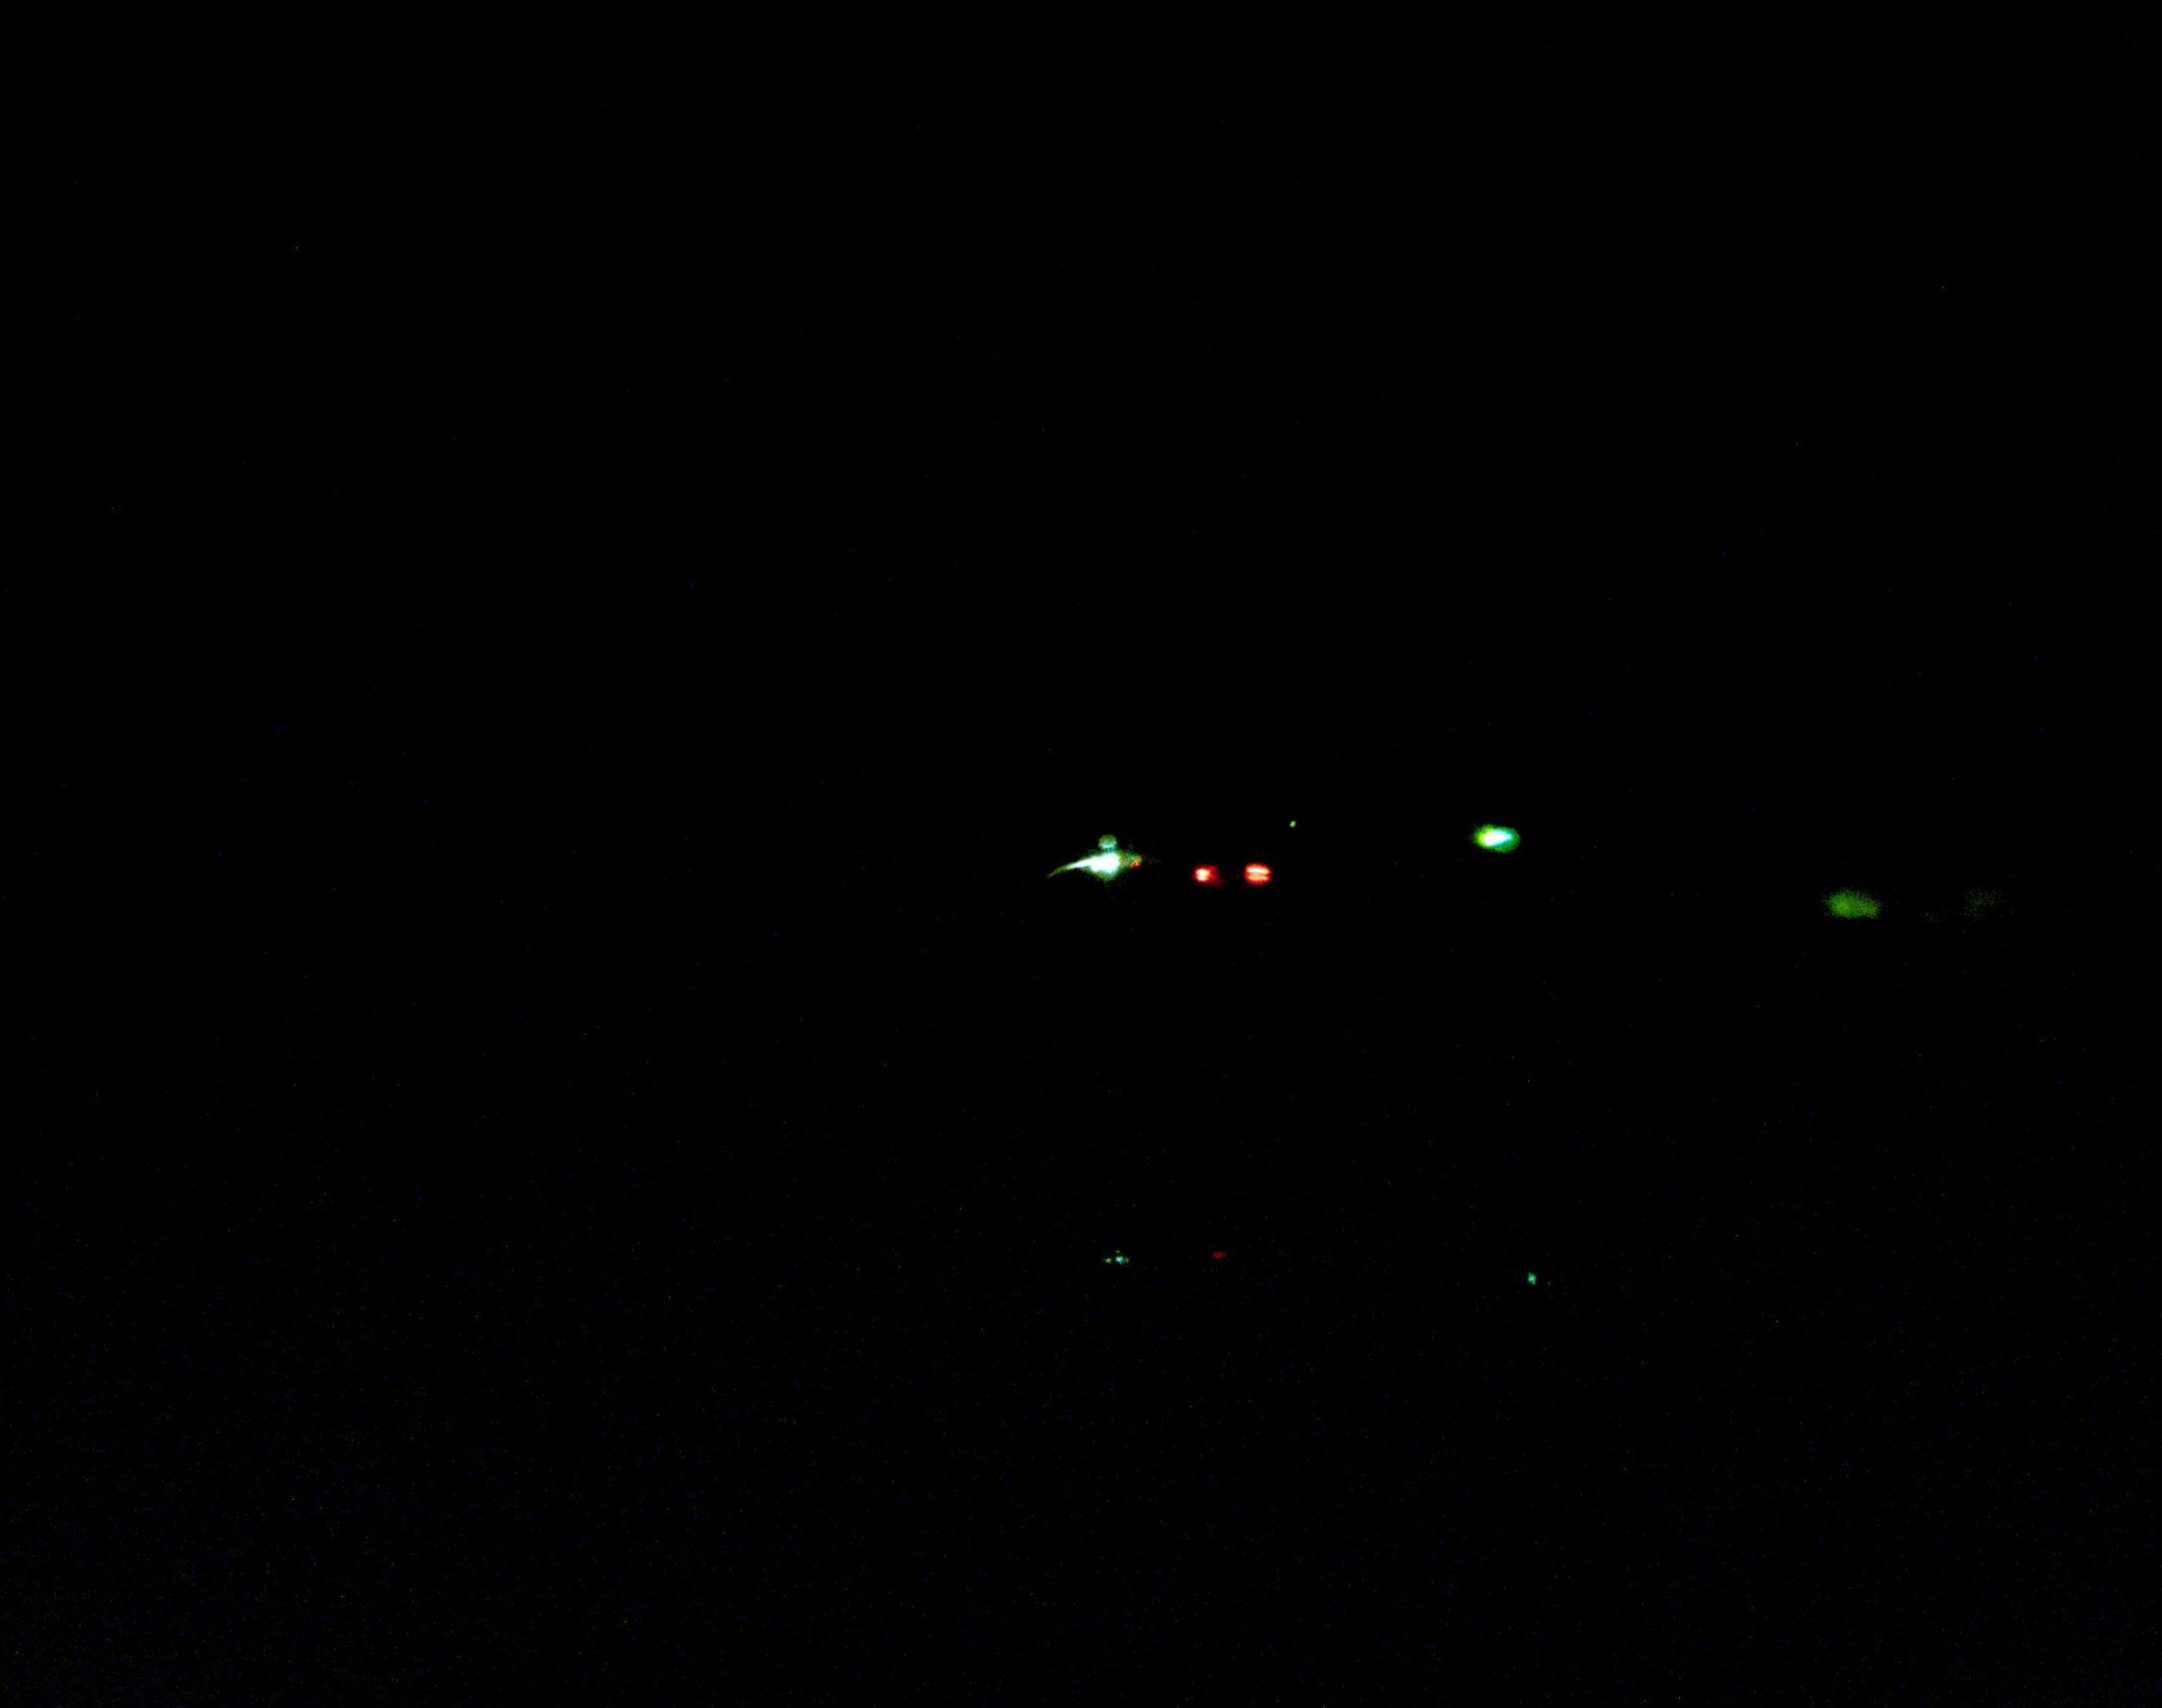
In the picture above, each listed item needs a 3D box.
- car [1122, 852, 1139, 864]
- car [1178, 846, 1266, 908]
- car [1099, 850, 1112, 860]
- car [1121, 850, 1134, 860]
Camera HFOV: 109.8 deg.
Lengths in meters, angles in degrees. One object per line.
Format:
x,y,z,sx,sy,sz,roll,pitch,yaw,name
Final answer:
5.601,0.426,85.848,1.645,1.351,3.680,-2,0,0,car
4.026,0.605,22.315,1.873,1.603,3.846,-2,0,0,car
3.907,0.154,121.334,1.746,1.623,3.738,-2,0,8,car
7.053,0.194,115.725,1.669,1.447,3.426,-2,0,0,car
